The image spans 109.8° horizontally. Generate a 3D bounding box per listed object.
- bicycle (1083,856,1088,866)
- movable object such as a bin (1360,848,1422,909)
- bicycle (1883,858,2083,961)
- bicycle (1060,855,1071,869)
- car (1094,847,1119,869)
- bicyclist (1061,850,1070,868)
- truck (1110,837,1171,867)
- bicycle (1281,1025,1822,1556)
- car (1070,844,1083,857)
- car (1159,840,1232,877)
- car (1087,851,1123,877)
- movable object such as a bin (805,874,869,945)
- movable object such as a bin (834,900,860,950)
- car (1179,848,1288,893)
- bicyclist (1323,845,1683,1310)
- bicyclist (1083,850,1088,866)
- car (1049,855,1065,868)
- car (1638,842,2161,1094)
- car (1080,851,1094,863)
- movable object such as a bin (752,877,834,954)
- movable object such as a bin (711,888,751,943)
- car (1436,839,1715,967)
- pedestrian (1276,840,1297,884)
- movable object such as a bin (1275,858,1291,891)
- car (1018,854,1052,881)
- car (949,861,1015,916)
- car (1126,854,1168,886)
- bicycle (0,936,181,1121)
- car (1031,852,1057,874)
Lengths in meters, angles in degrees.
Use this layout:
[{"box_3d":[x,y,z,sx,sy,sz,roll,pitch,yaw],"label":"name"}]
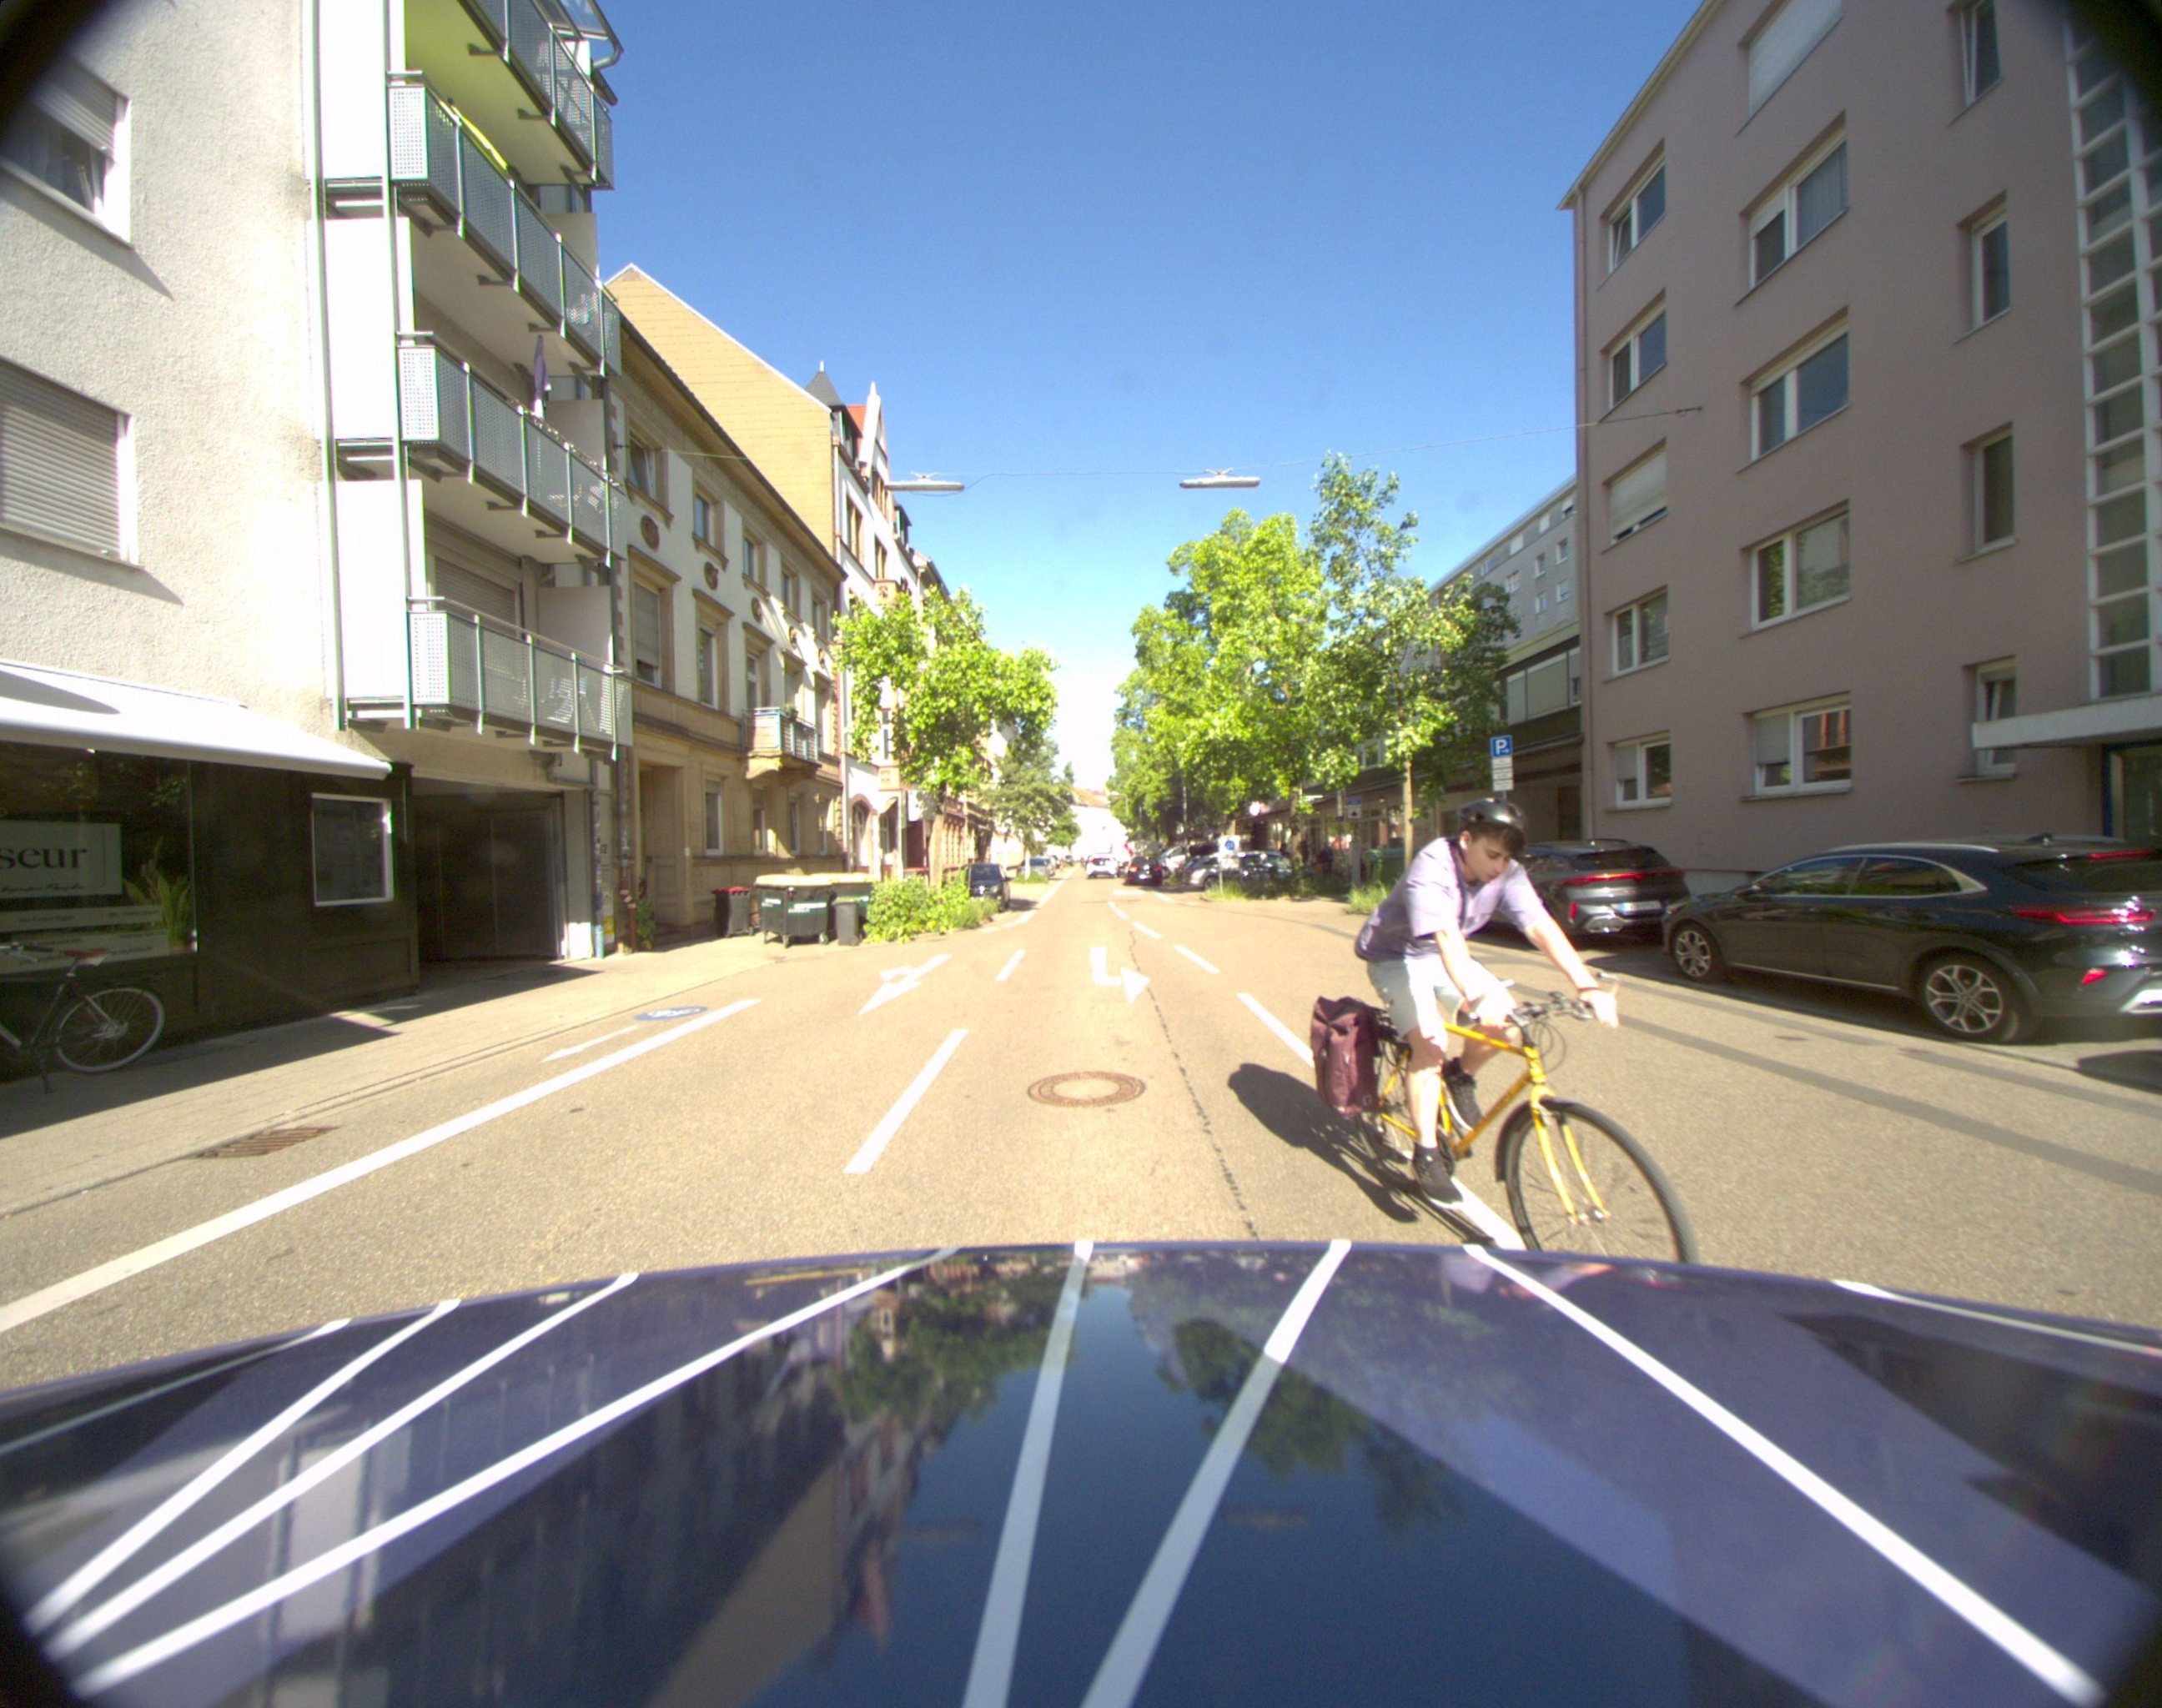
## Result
[{"box_3d":[0.574,0.855,93.471,0.570,1.139,2.259,-3,1,1],"label":"bicycle"},{"box_3d":[8.130,0.636,19.989,1.247,1.536,1.019,-2,1,5],"label":"movable object such as a bin"},{"box_3d":[10.755,0.618,9.150,0.391,1.070,1.650,-6,1,2],"label":"bicycle"},{"box_3d":[-1.374,0.680,67.543,0.778,1.139,2.259,-3,1,1],"label":"bicycle"},{"box_3d":[2.182,0.321,65.135,1.994,1.599,4.259,-3,3,1],"label":"car"},{"box_3d":[-1.390,0.460,67.565,0.748,1.588,0.613,-3,1,1],"label":"bicyclist"},{"box_3d":[5.593,-0.192,71.664,5.322,2.581,1.998,-2,1,-9],"label":"truck"},{"box_3d":[1.432,1.272,2.792,0.612,0.876,1.812,-1,-1,-11],"label":"bicycle"},{"box_3d":[-0.670,-0.566,126.527,1.998,2.002,4.000,-2,0,1],"label":"car"},{"box_3d":[6.703,0.262,44.772,3.997,2.020,2.000,-2,1,1],"label":"car"},{"box_3d":[1.574,0.618,48.064,1.768,1.528,3.788,-2,0,9],"label":"car"},{"box_3d":[-5.090,1.120,15.851,0.960,1.341,1.066,-1,2,-38],"label":"movable object such as a bin"},{"box_3d":[-4.583,1.381,14.886,0.401,0.916,0.484,0,2,-7],"label":"movable object such as a bin"},{"box_3d":[6.085,0.634,30.665,3.997,1.665,2.000,-2,1,1],"label":"car"},{"box_3d":[1.432,0.657,2.767,0.610,1.338,1.017,-2,0,-11],"label":"bicyclist"},{"box_3d":[0.547,0.478,93.411,0.578,1.911,0.613,-3,1,1],"label":"bicyclist"},{"box_3d":[-2.731,0.837,85.962,1.653,1.447,3.290,-2,0,1],"label":"car"},{"box_3d":[7.511,0.708,6.912,1.821,1.499,4.245,-4,0,2],"label":"car"},{"box_3d":[0.845,0.404,107.430,1.826,1.617,4.000,-2,0,1],"label":"car"},{"box_3d":[-5.593,1.157,14.774,1.212,1.318,1.052,2,3,42],"label":"movable object such as a bin"},{"box_3d":[-7.324,1.268,15.889,0.615,1.075,0.568,2,3,42],"label":"movable object such as a bin"},{"box_3d":[7.585,0.646,12.253,1.821,1.583,4.141,-5,0,2],"label":"car"},{"box_3d":[9.436,0.353,34.912,0.753,2.002,0.566,-1,1,1],"label":"pedestrian"},{"box_3d":[7.616,0.783,28.671,0.488,1.218,0.409,-2,1,1],"label":"movable object such as a bin"},{"box_3d":[-2.748,0.761,45.884,1.759,1.492,3.949,-2,0,0],"label":"car"},{"box_3d":[-2.974,1.009,23.362,1.551,1.483,3.351,-2,0,0],"label":"car"},{"box_3d":[3.216,0.740,37.551,1.867,1.455,4.000,-2,0,3],"label":"car"},{"box_3d":[-7.752,1.278,5.443,0.402,1.171,1.792,-2,0,1],"label":"bicycle"},{"box_3d":[-2.634,0.648,55.199,1.653,1.483,3.290,-2,0,0],"label":"car"}]
